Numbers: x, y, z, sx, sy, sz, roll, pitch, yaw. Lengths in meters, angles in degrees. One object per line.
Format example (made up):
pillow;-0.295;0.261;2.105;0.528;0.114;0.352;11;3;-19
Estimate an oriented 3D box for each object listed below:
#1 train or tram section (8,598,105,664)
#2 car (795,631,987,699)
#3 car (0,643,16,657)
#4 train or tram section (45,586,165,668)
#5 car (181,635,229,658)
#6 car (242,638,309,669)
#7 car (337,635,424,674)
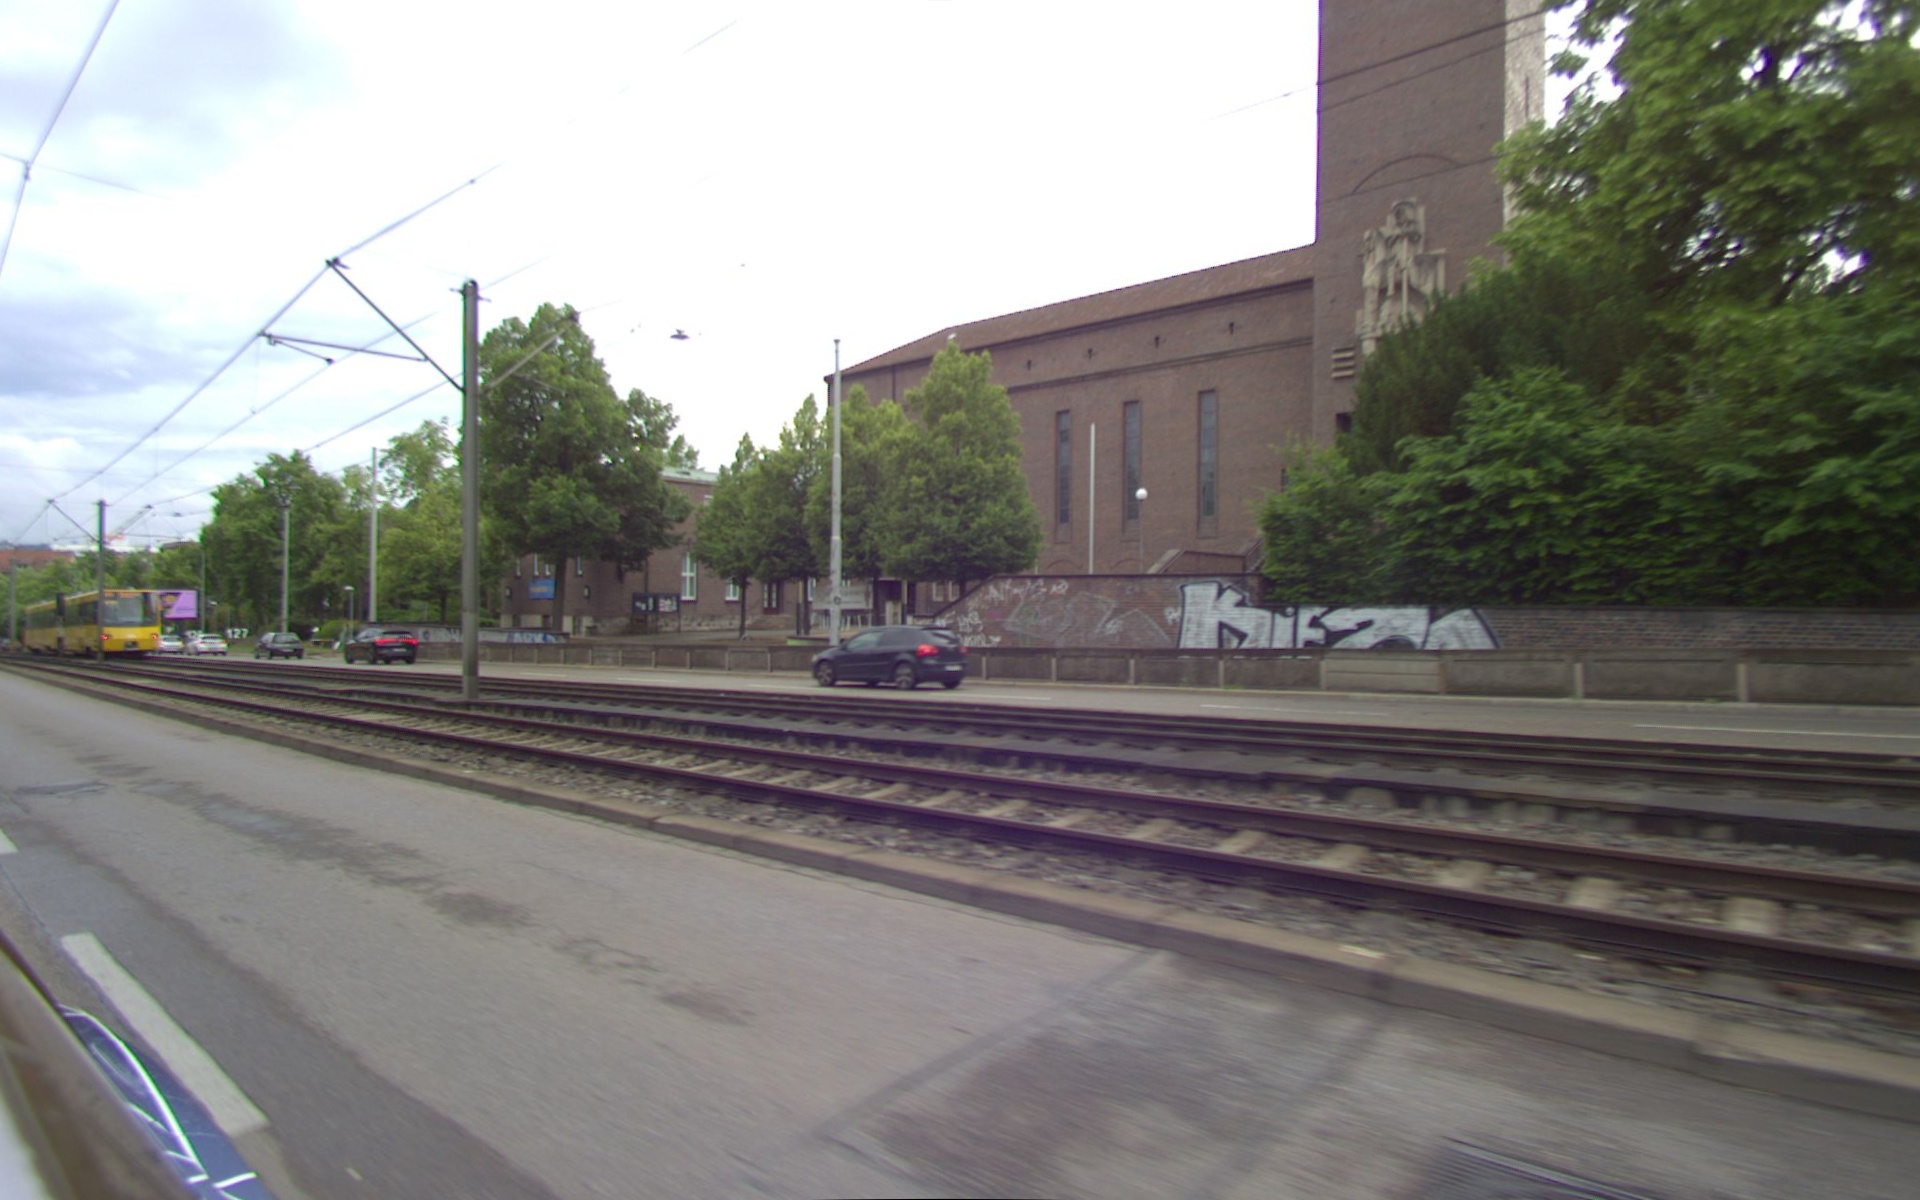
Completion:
train or tram section;-61.998;2.217;69.152;20.022;4.006;2.798;-2;-2;42
car;-1.660;1.449;23.562;4.317;1.452;1.946;-2;-2;39
car;-111.411;5.822;117.903;4.339;1.650;1.669;-2;-2;42
train or tram section;-48.135;1.609;56.626;17.872;4.006;2.798;-2;-2;42
car;-51.119;3.143;68.481;3.982;1.479;1.729;-2;-4;40
car;-38.217;2.936;56.473;4.409;1.656;1.973;-2;-3;41
car;-25.985;2.424;45.335;4.521;1.656;1.973;-2;-3;41
